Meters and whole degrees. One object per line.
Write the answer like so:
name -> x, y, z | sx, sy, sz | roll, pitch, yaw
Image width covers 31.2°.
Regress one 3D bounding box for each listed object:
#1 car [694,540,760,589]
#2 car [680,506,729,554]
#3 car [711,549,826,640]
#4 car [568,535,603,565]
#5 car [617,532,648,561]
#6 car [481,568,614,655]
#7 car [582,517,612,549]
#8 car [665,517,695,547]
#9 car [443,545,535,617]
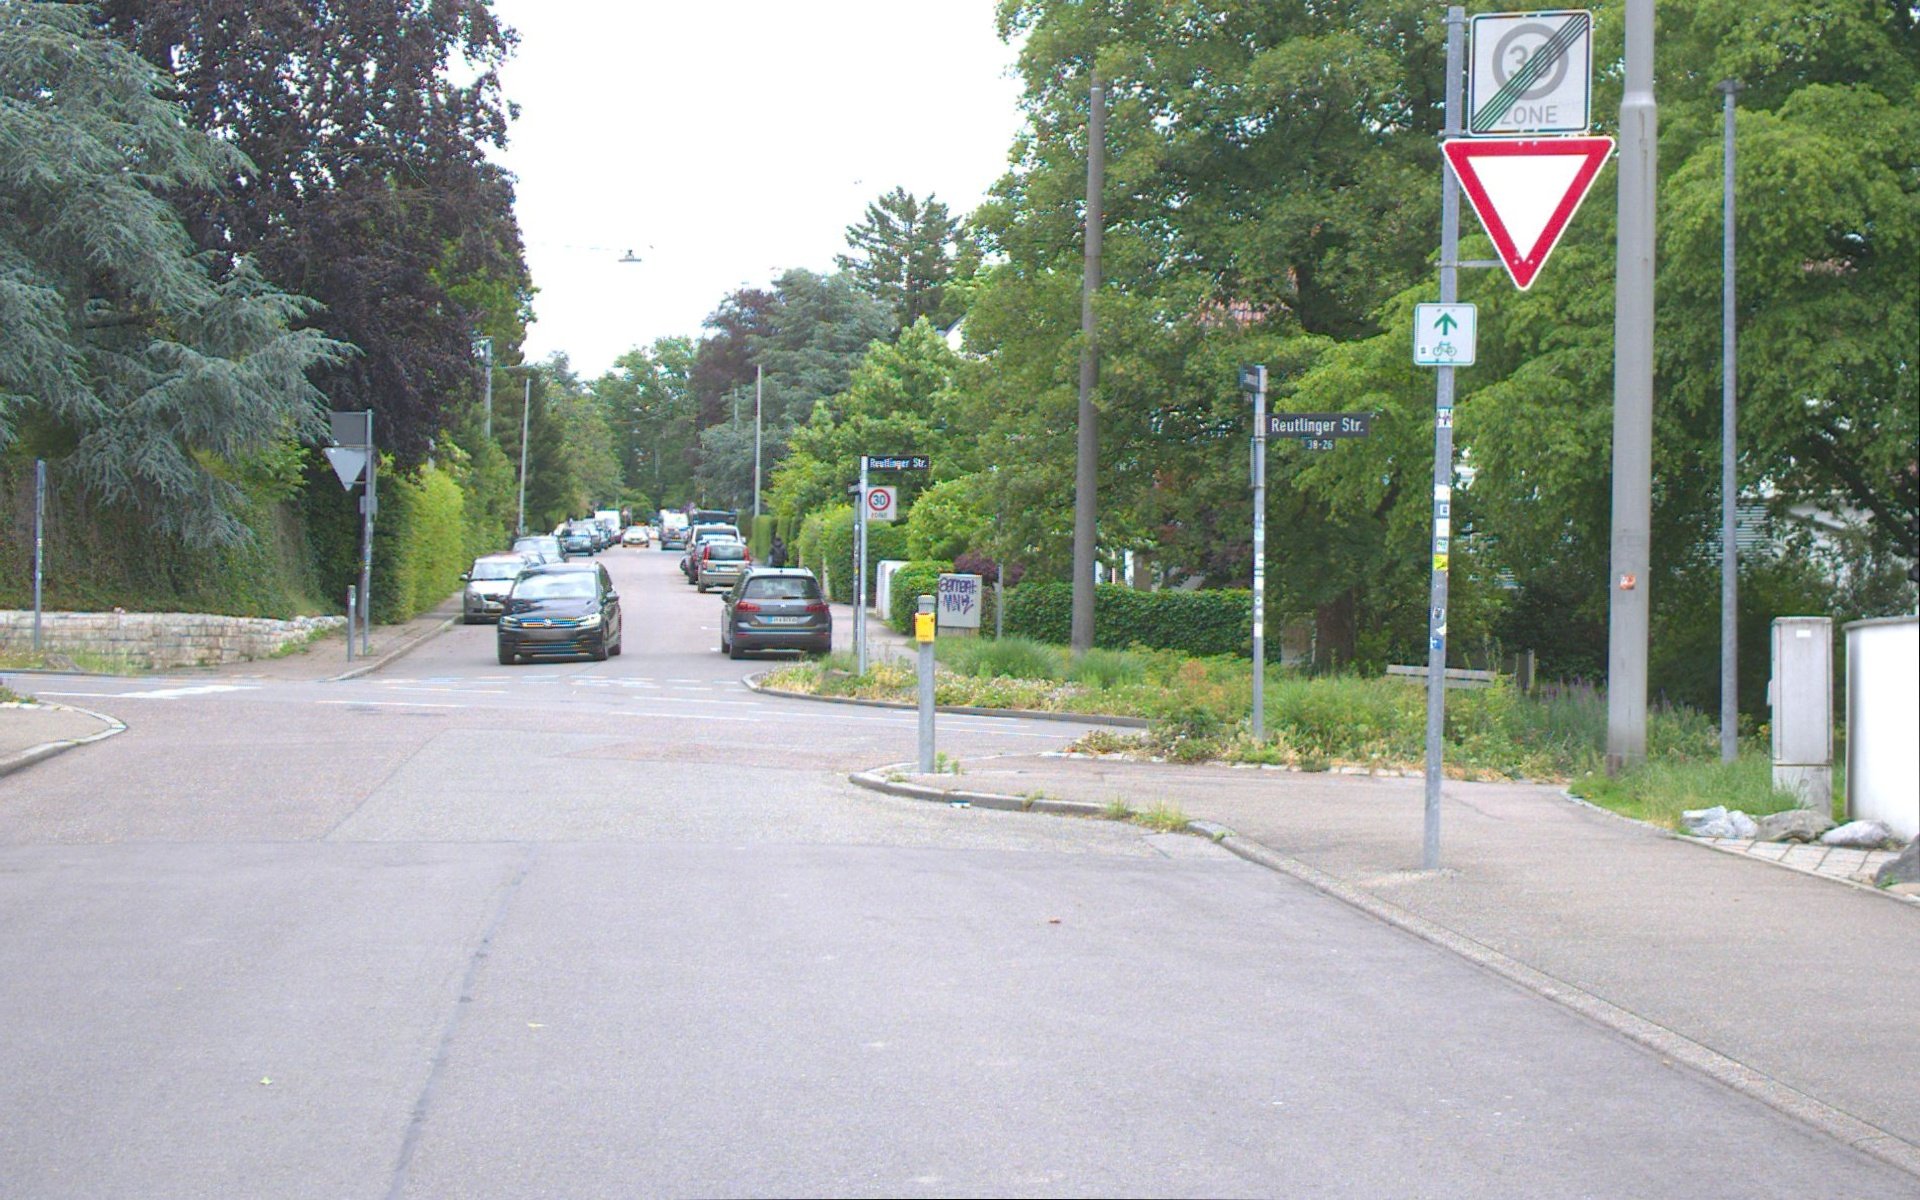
car -> -7.048, -1.084, 103.566 | 1.810, 1.331, 3.633 | 2, 2, -6
car -> -9.259, -2.547, 124.525 | 1.633, 1.695, 3.495 | 1, 1, -6
car -> -3.391, -0.119, 60.240 | 1.778, 1.484, 4.001 | 2, 1, -6
car -> -18.264, -2.438, 167.752 | 1.626, 1.381, 3.599 | 3, 0, -6
car -> -22.259, -3.649, 233.869 | 1.993, 1.875, 4.001 | 3, 0, -6
car -> -6.919, 0.168, 58.014 | 1.728, 1.402, 3.803 | 1, 1, 1
car -> -22.649, -4.169, 214.593 | 1.817, 1.875, 4.001 | 3, 0, -6
car -> -16.143, -3.941, 198.095 | 1.633, 1.695, 3.495 | 1, 1, -6
car -> -10.893, -0.450, 79.679 | 1.711, 1.580, 4.000 | 1, 1, -2
